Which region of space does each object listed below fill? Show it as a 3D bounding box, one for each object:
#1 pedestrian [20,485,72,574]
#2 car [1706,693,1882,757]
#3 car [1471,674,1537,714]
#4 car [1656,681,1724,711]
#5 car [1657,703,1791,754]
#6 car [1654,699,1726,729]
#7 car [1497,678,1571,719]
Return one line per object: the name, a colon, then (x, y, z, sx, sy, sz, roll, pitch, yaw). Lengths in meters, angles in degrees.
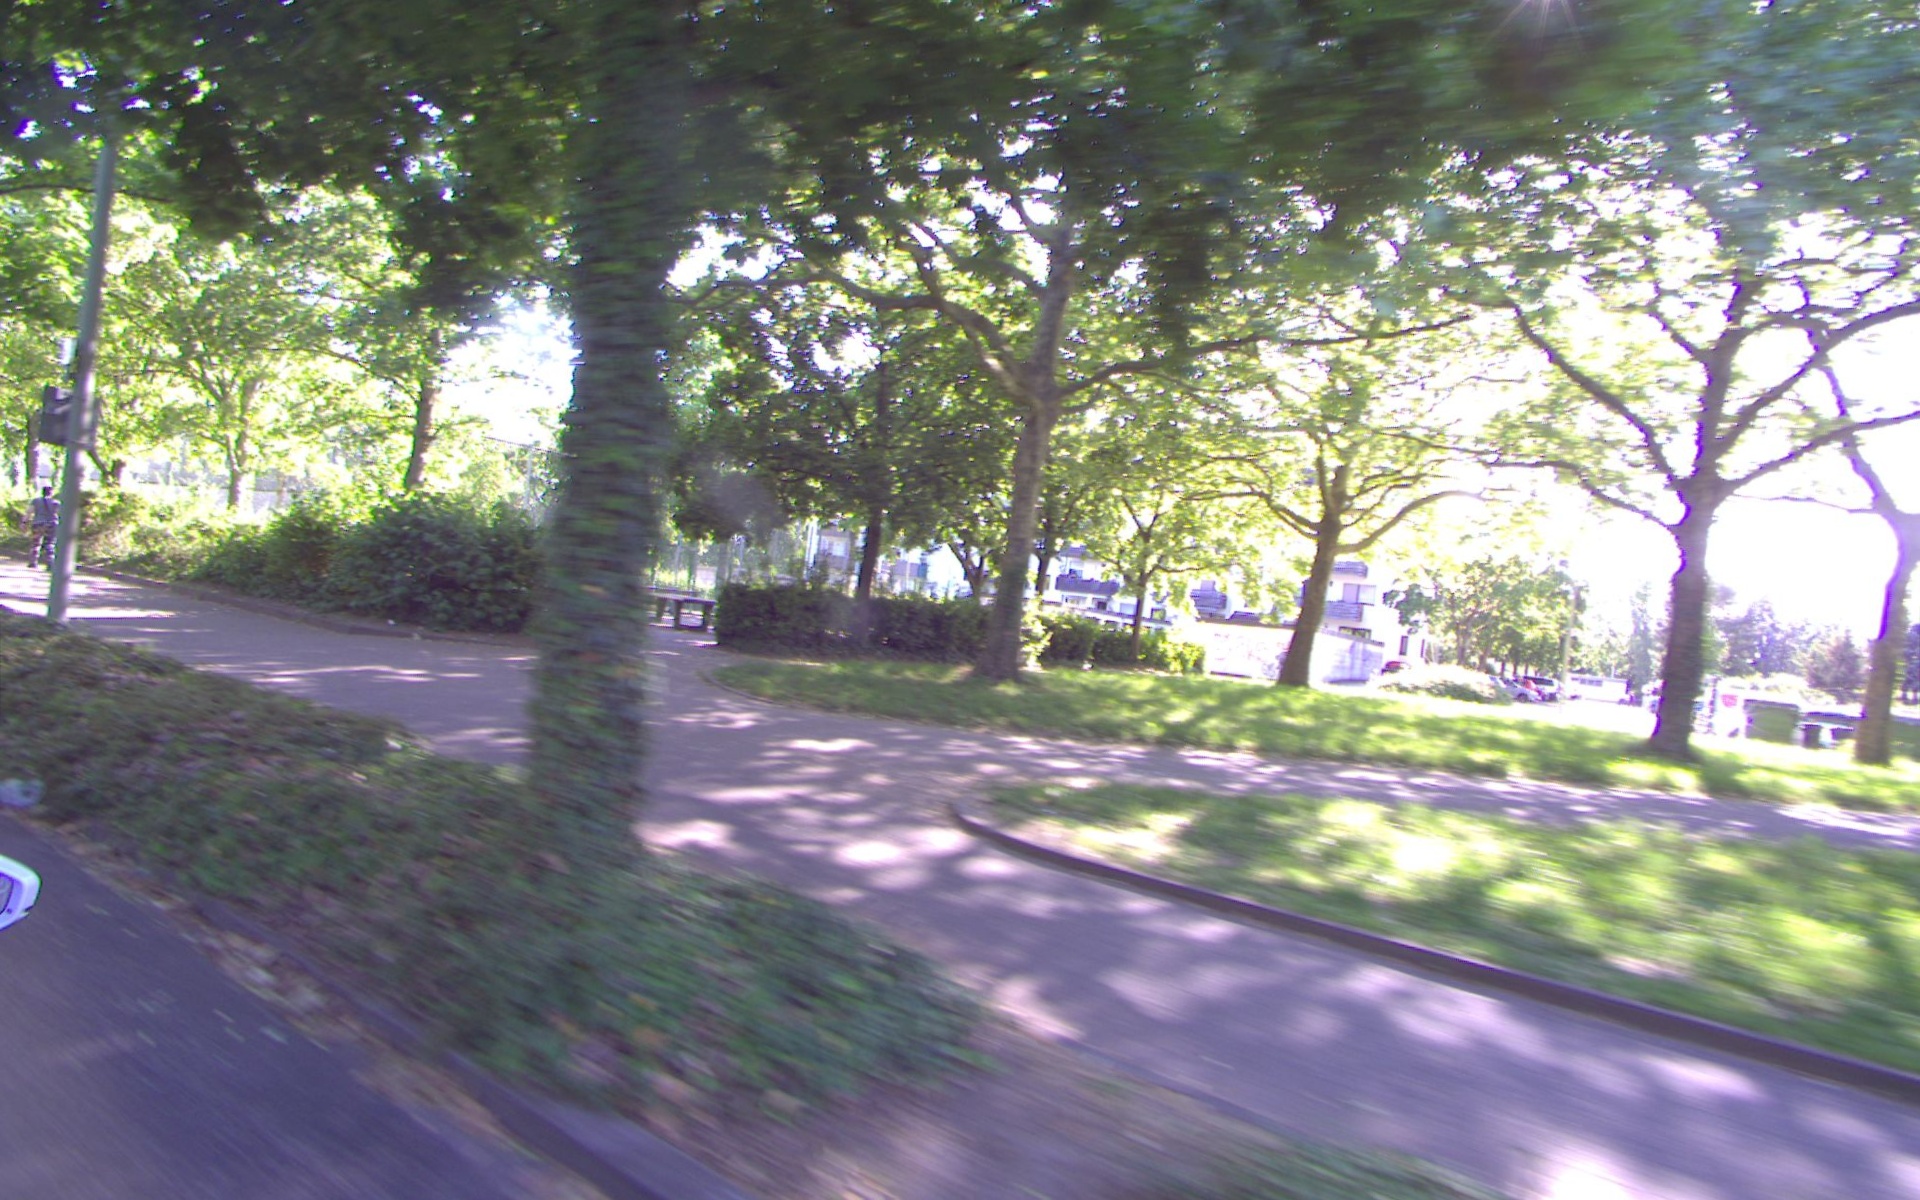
pedestrian: (-17.637, -1.364, 19.406, 0.662, 1.627, 0.570, 7, 0, 44)
car: (24.960, 3.742, 30.277, 3.795, 1.308, 1.541, 6, -3, 33)
car: (39.311, 6.773, 72.663, 3.934, 2.317, 1.998, 6, -2, 32)
car: (54.408, 7.175, 75.043, 3.939, 1.641, 1.995, 6, -3, 37)
car: (31.053, 5.223, 41.039, 4.088, 1.381, 1.746, 6, -3, 33)
car: (51.924, 8.111, 71.625, 3.939, 1.545, 1.995, 6, -3, 37)
car: (37.361, 6.426, 65.532, 3.934, 2.036, 1.998, 6, -2, 32)
